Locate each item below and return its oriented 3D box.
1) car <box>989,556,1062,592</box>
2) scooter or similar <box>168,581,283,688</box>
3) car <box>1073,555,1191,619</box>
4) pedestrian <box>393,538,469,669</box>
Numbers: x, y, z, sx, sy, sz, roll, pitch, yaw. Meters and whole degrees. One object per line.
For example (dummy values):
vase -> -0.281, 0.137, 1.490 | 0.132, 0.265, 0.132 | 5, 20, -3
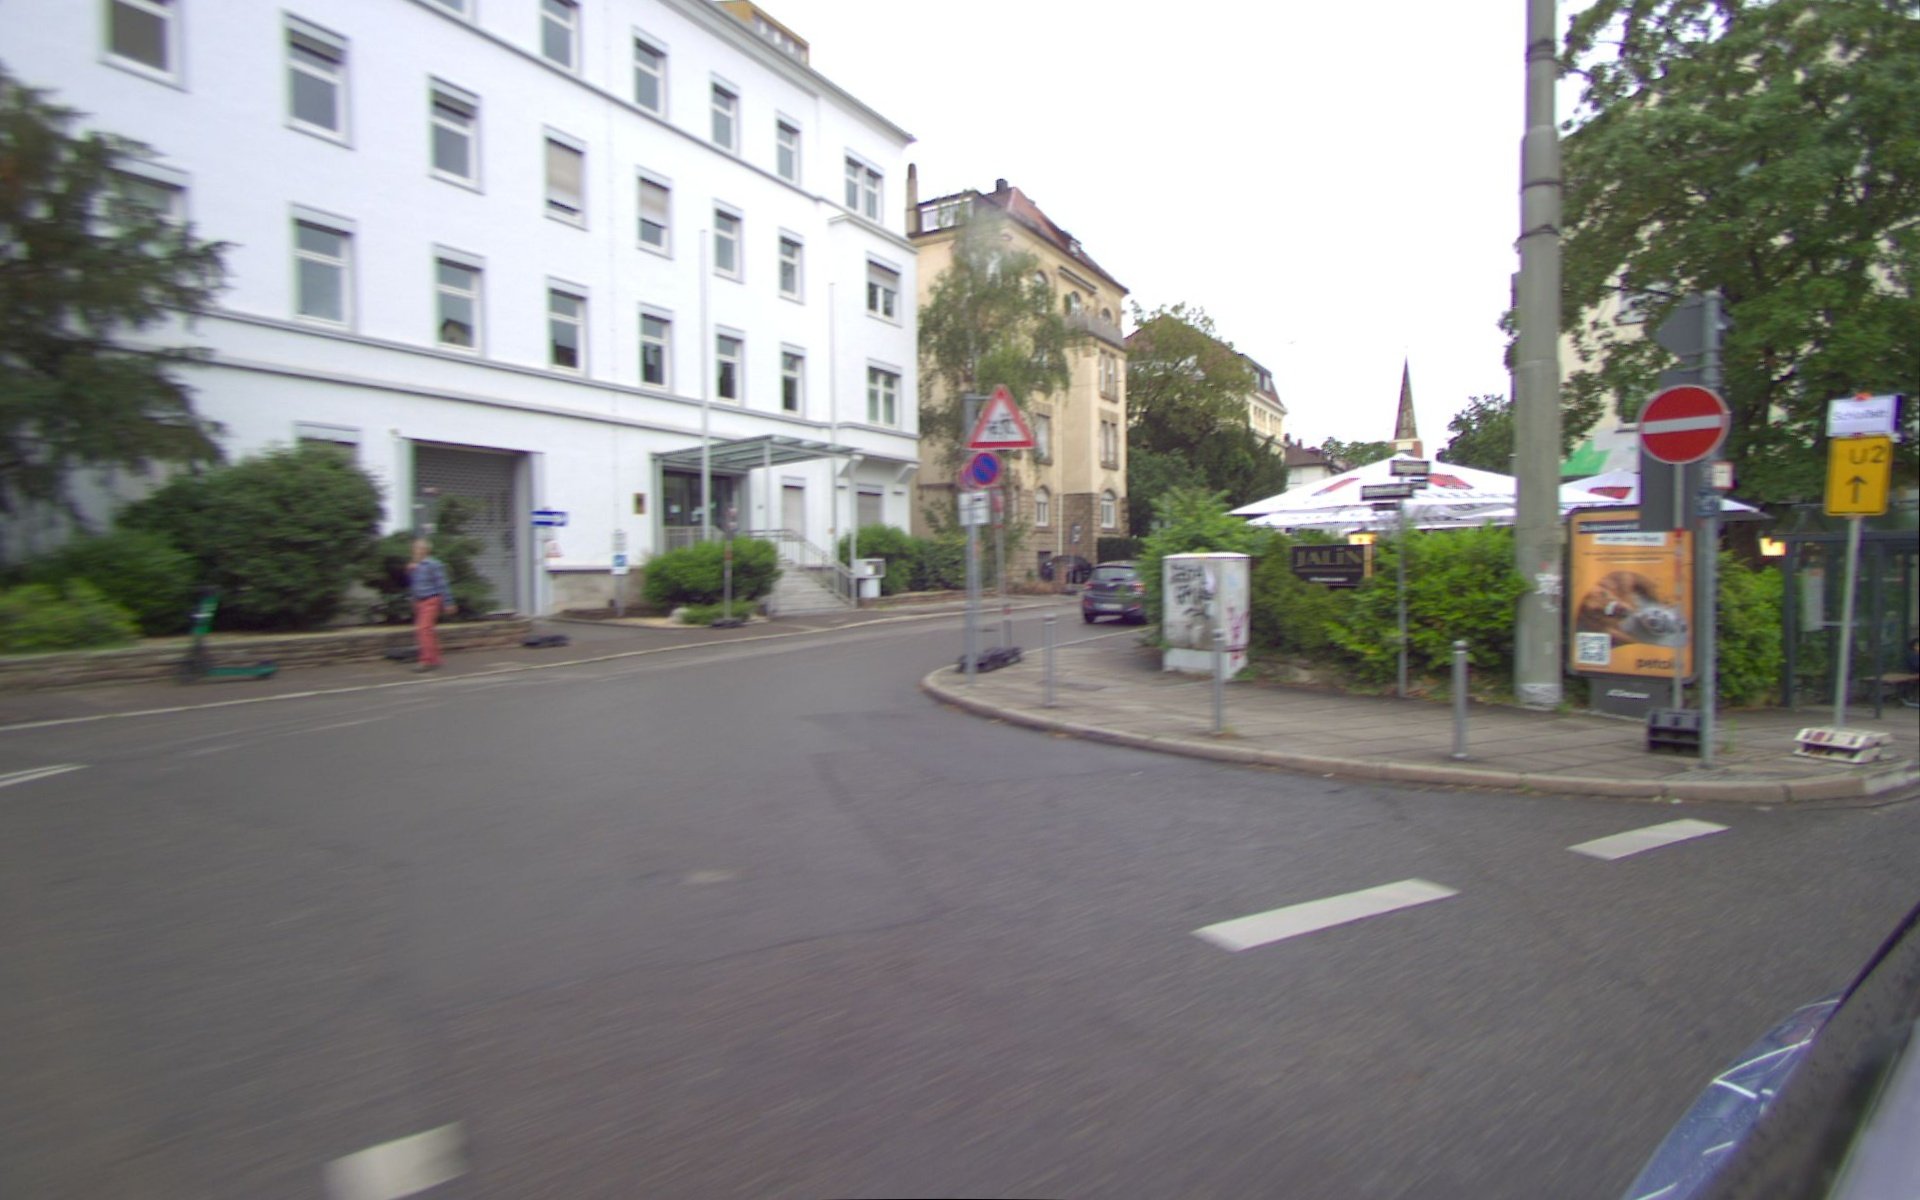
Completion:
car -> 2.851, -1.079, 43.257 | 1.588, 1.358, 3.591 | -1, -2, 32
scooter or similar -> -9.727, 0.428, 13.430 | 0.461, 1.305, 1.089 | -1, 3, 35
car -> 4.304, -0.356, 24.929 | 1.679, 1.460, 3.765 | 1, 2, 30
pedestrian -> -8.073, 0.030, 15.481 | 0.535, 1.946, 0.914 | 0, 2, 12
